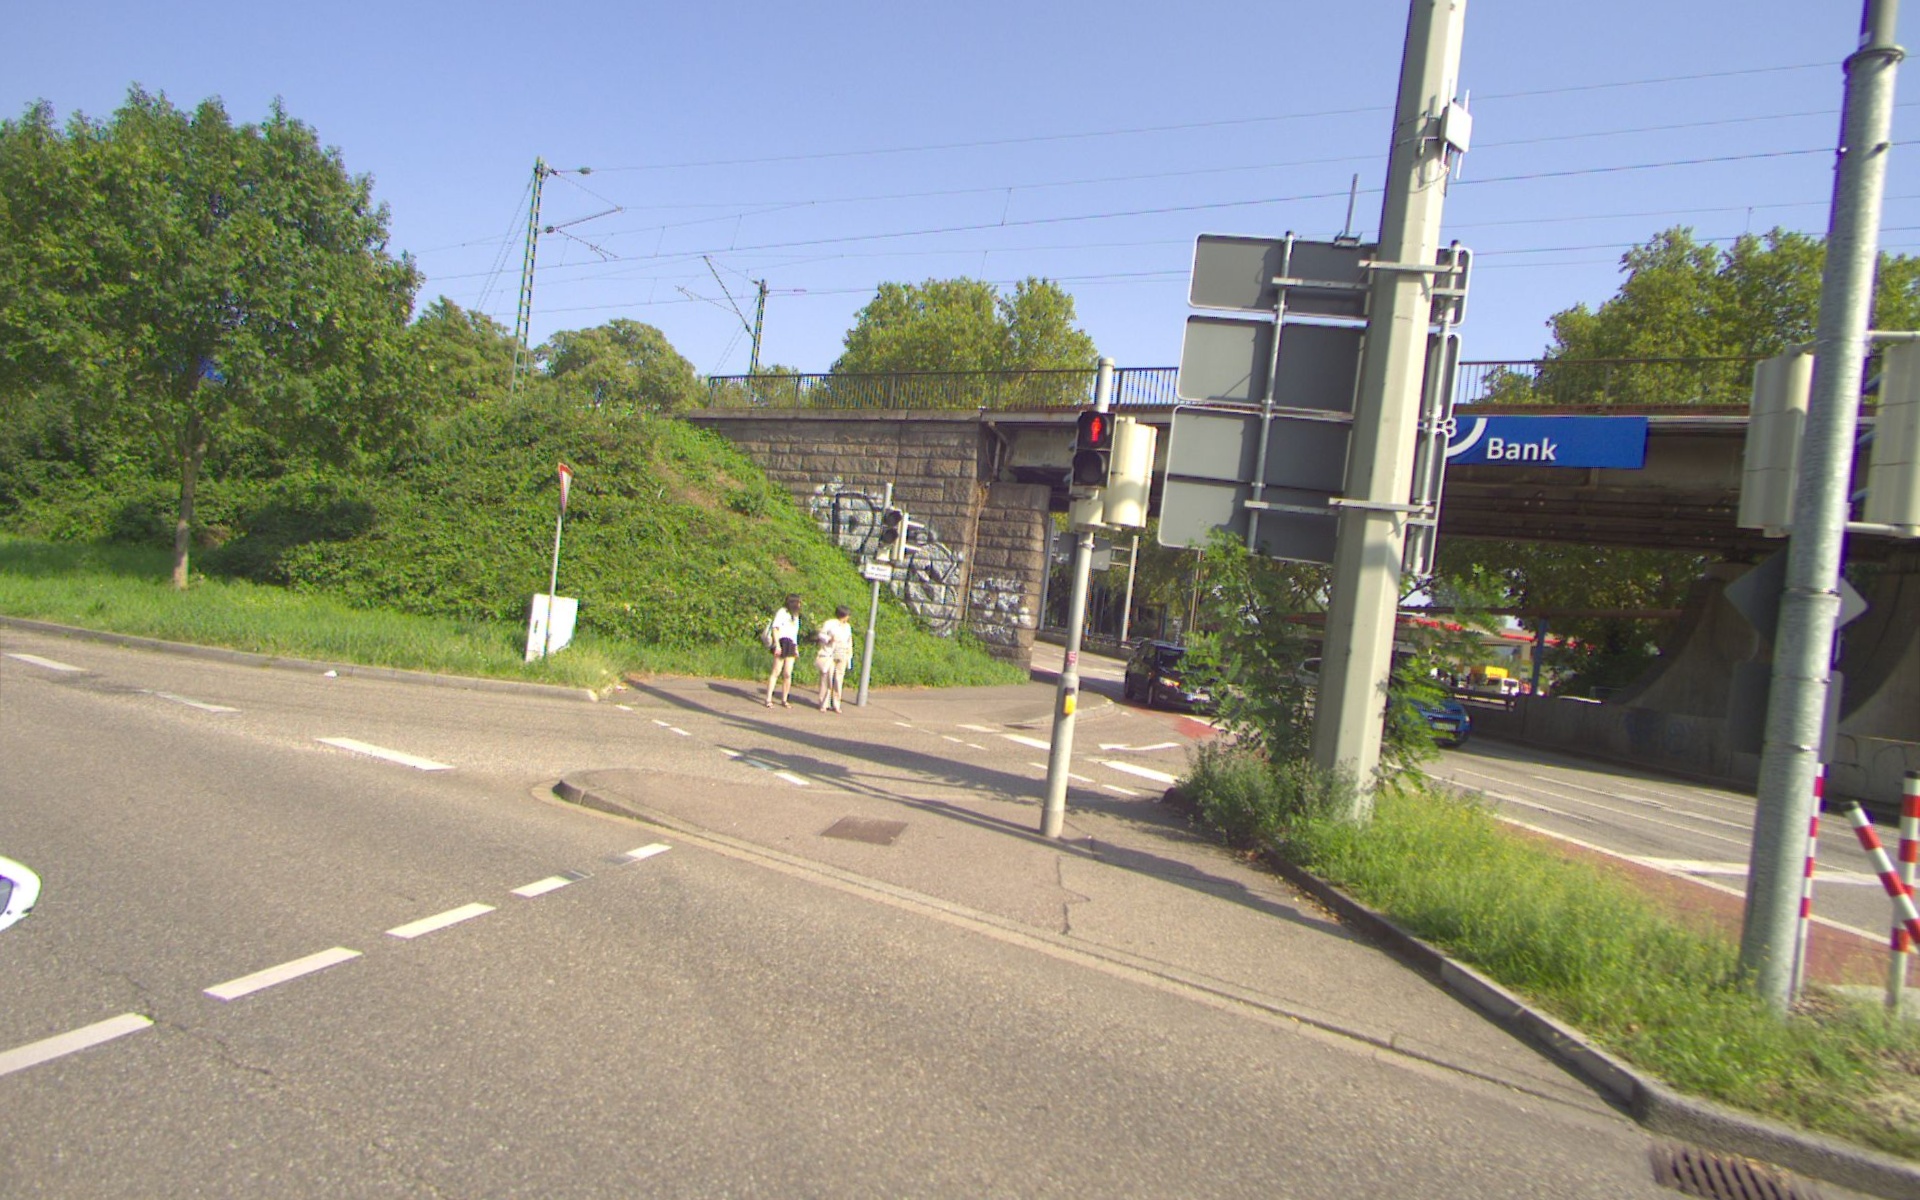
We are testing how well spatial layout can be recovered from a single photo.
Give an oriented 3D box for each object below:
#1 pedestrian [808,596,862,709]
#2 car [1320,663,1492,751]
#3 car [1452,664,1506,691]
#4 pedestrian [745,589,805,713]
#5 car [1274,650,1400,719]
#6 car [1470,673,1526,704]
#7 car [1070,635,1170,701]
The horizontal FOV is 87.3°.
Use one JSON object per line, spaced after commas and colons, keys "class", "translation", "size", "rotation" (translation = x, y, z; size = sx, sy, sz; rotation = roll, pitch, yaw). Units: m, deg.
{"class": "pedestrian", "translation": [-1.869, 0.774, 14.970], "size": [0.528, 1.587, 0.570], "rotation": [6, 2, -18]}
{"class": "car", "translation": [9.748, 2.294, 22.362], "size": [1.589, 1.470, 3.997], "rotation": [5, -1, -7]}
{"class": "car", "translation": [49.453, 7.360, 96.045], "size": [1.964, 2.037, 5.108], "rotation": [6, -1, -5]}
{"class": "pedestrian", "translation": [-2.709, 0.742, 14.699], "size": [0.564, 1.705, 0.489], "rotation": [6, 5, -24]}
{"class": "car", "translation": [11.644, 2.571, 31.408], "size": [1.974, 1.637, 4.216], "rotation": [7, -1, -3]}
{"class": "car", "translation": [44.113, 7.229, 82.587], "size": [2.092, 2.038, 3.998], "rotation": [6, -1, -5]}
{"class": "car", "translation": [4.782, 2.019, 30.751], "size": [1.838, 1.551, 4.190], "rotation": [7, -1, -6]}
